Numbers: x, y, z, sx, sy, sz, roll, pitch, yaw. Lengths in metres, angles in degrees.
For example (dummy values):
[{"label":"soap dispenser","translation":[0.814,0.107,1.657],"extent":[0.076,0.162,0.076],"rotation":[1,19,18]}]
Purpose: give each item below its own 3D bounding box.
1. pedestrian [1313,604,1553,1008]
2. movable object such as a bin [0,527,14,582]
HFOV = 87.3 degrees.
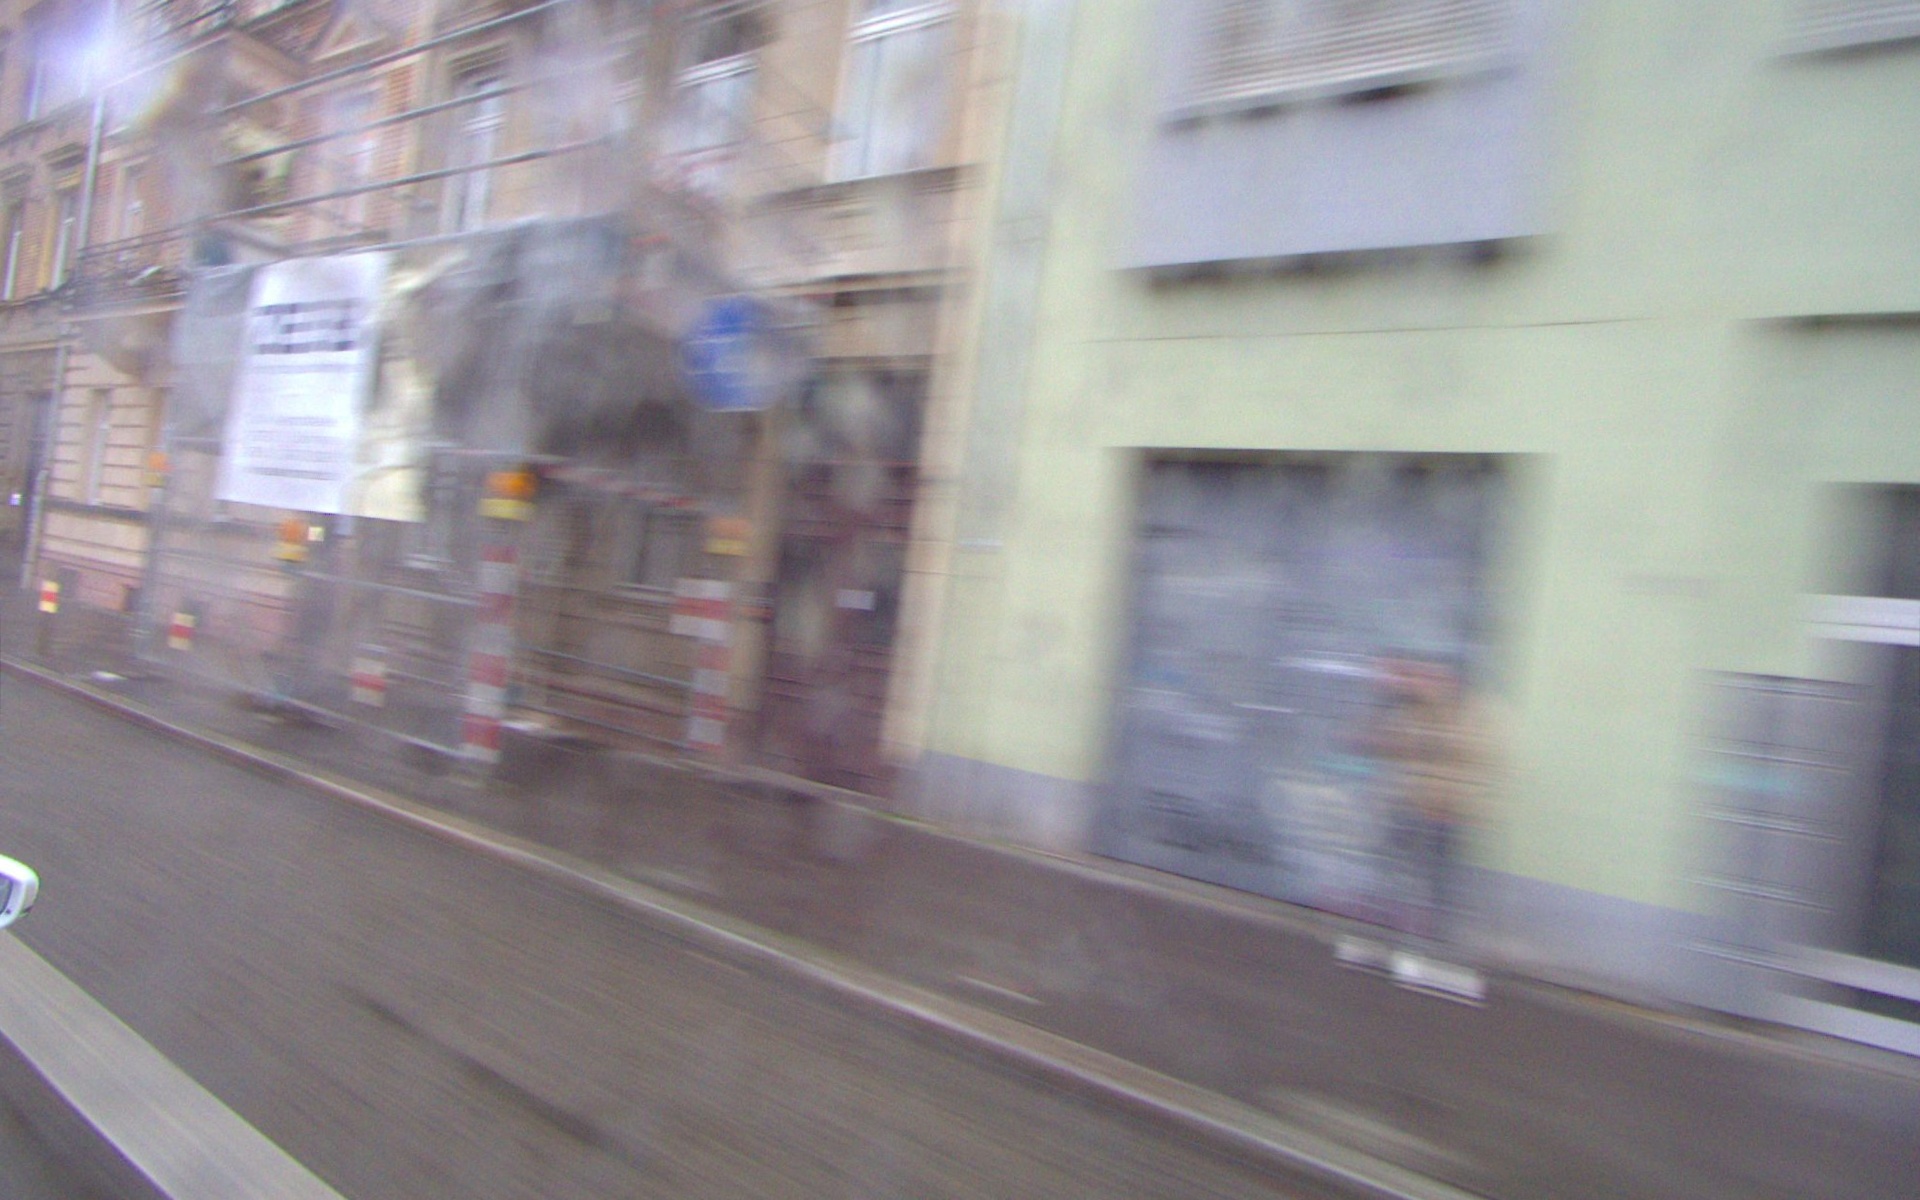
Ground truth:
[{"label":"pedestrian","translation":[2.380,1.001,5.140],"extent":[0.761,1.839,0.601],"rotation":[7,-1,4]},{"label":"movable object such as a bin","translation":[-17.140,-0.831,17.696],"extent":[0.499,0.942,0.507],"rotation":[7,-1,30]}]
